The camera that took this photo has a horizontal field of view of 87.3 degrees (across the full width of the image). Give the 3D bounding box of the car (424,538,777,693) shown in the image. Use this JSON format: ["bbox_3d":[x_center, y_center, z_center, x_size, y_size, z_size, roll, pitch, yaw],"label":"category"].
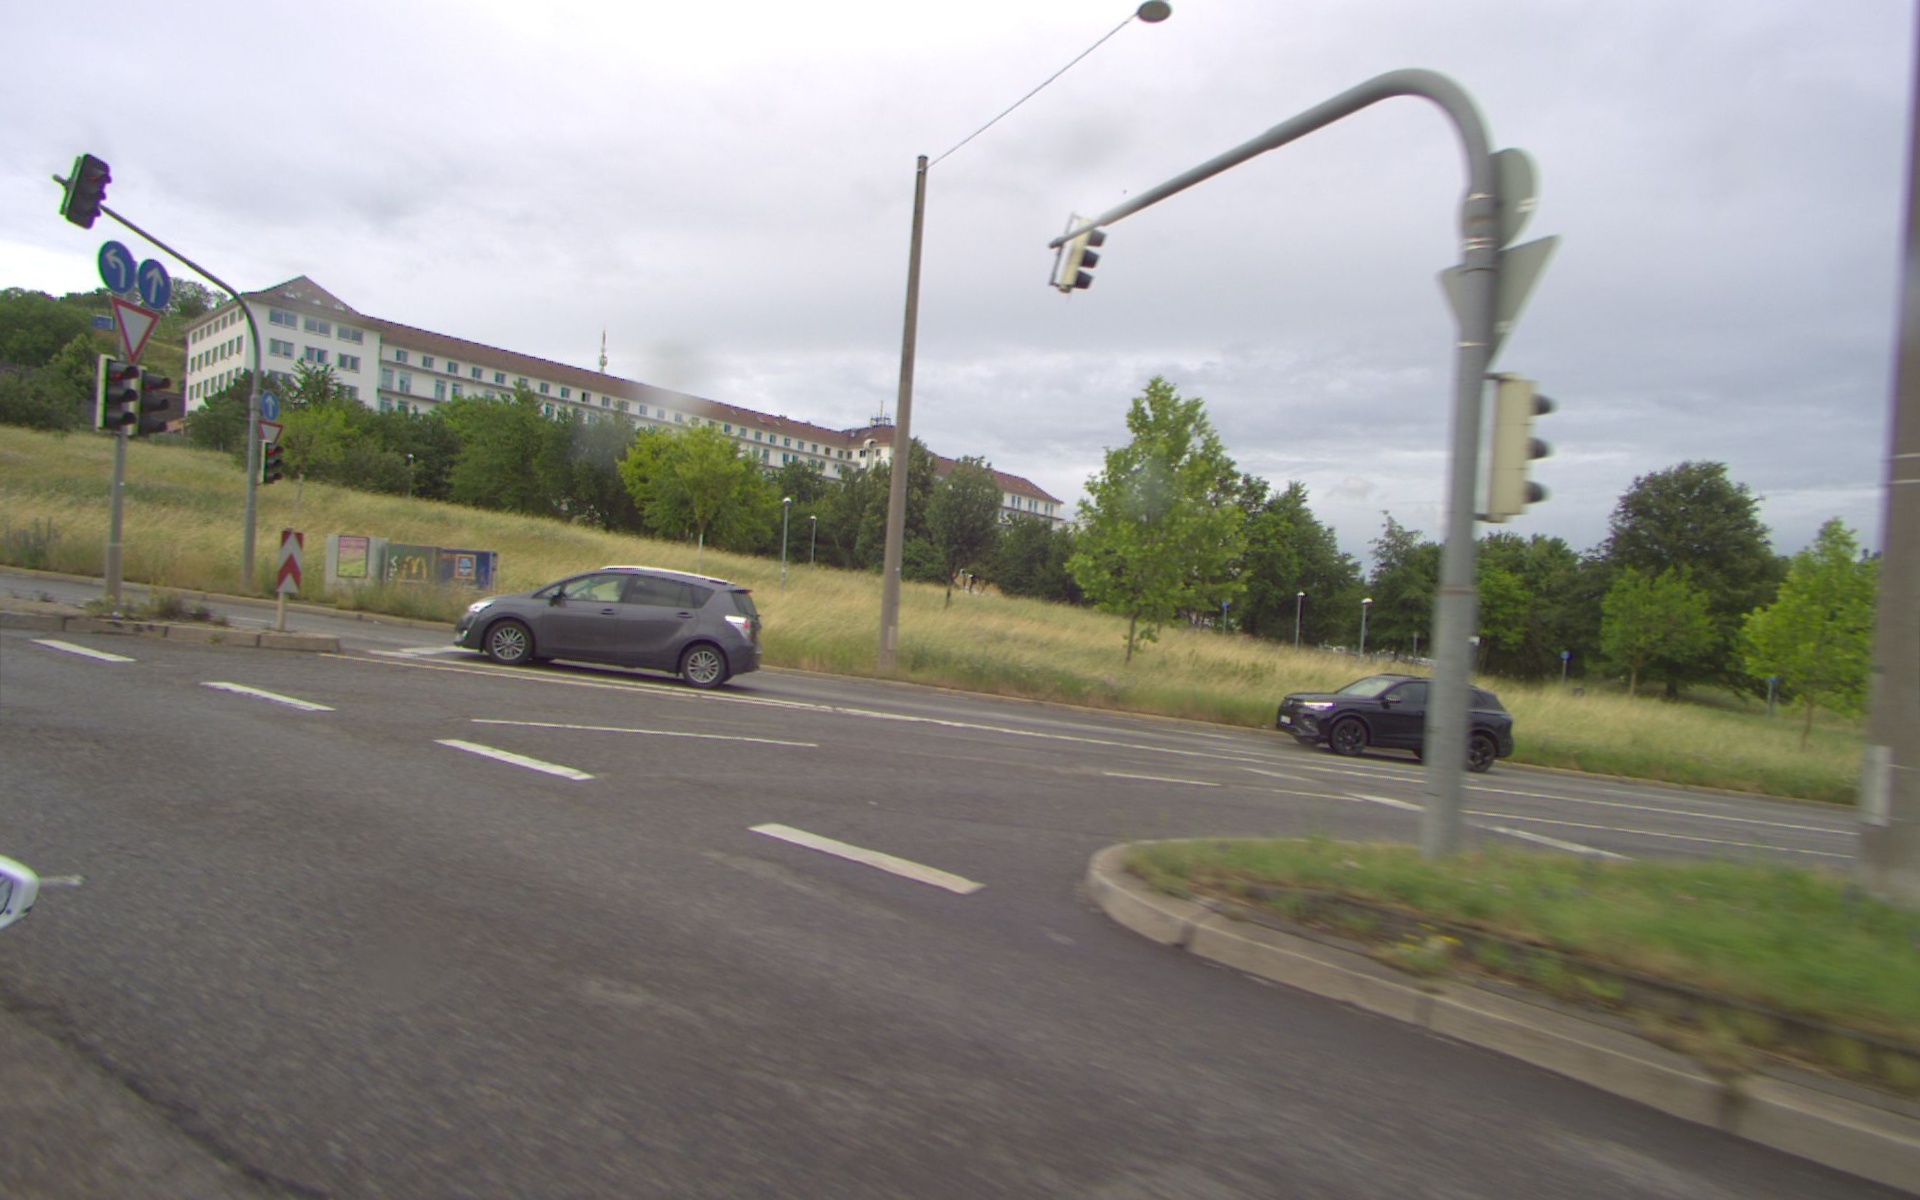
[{"bbox_3d":[-5.246,0.283,15.300,4.547,1.661,2.000,7,-3,-6],"label":"car"}]

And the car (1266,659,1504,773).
[{"bbox_3d":[8.274,2.231,19.775,3.818,1.661,1.721,7,-1,-4],"label":"car"}]
